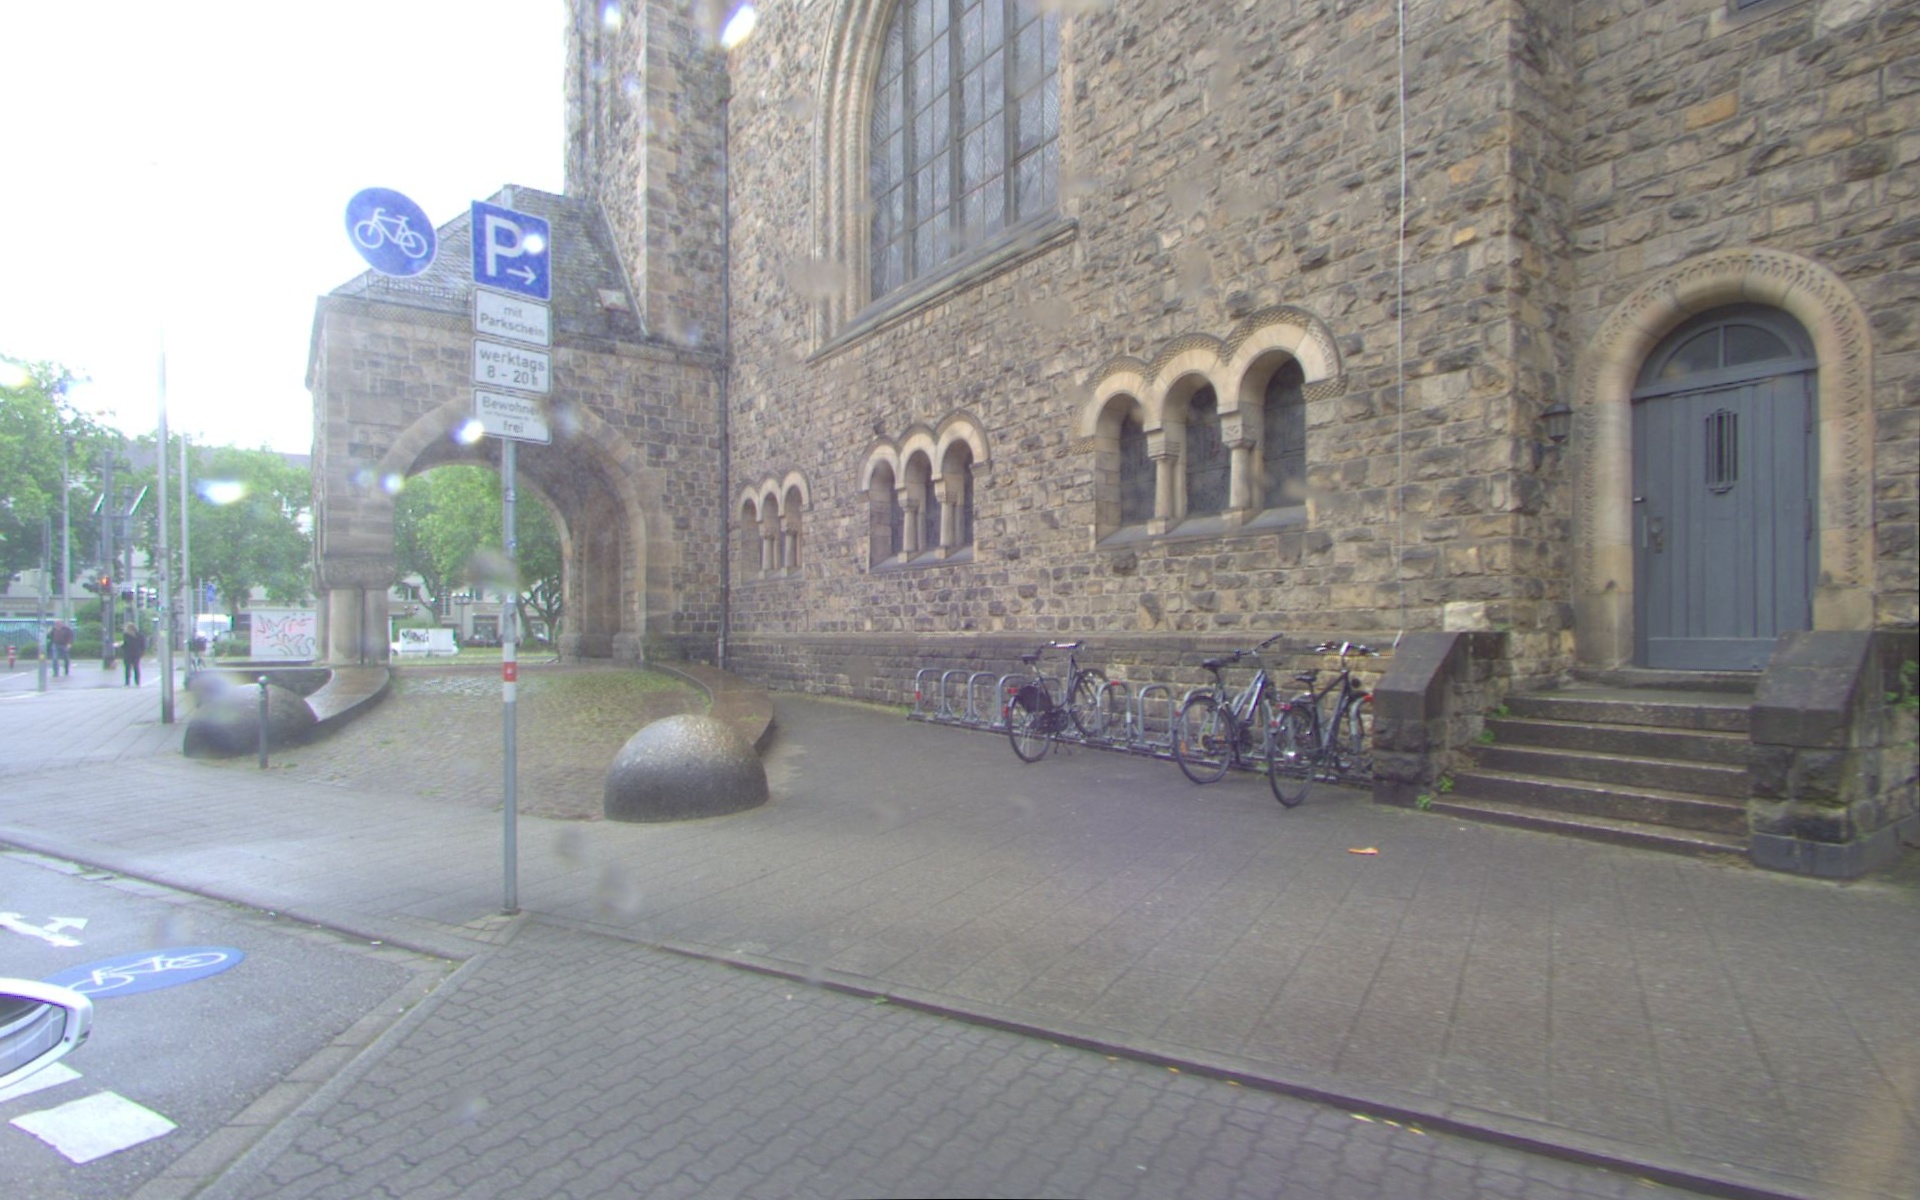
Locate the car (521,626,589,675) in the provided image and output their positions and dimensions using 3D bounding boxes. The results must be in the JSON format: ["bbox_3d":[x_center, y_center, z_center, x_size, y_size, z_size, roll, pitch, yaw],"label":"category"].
[{"bbox_3d":[-12.966,1.574,32.007,1.389,1.498,3.200,1,-2,-34],"label":"car"}]

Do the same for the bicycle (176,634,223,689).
[{"bbox_3d":[-16.918,1.345,22.260,2.049,1.169,0.327,-1,-1,38],"label":"bicycle"}]

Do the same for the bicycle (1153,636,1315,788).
[{"bbox_3d":[2.397,0.905,8.639,1.697,1.126,0.556,-2,0,-45],"label":"bicycle"}]

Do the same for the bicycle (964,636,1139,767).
[{"bbox_3d":[0.964,0.965,10.119,0.684,1.119,1.973,-1,0,43],"label":"bicycle"}]

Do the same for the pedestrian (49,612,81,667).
[{"bbox_3d":[-29.294,1.286,32.773,0.780,1.782,0.936,0,0,-43],"label":"pedestrian"}]

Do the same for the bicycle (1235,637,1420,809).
[{"bbox_3d":[2.824,0.852,7.563,1.971,1.068,0.507,-2,0,-45],"label":"bicycle"}]

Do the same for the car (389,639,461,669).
[{"bbox_3d":[-29.752,2.968,55.701,3.401,1.572,1.584,1,-1,-33],"label":"car"}]

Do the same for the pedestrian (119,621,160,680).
[{"bbox_3d":[-23.573,1.433,28.771,0.646,1.667,0.780,0,0,35],"label":"pedestrian"}]

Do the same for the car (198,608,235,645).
[{"bbox_3d":[-53.974,1.943,72.782,1.888,2.588,4.757,1,-1,-34],"label":"car"}]
